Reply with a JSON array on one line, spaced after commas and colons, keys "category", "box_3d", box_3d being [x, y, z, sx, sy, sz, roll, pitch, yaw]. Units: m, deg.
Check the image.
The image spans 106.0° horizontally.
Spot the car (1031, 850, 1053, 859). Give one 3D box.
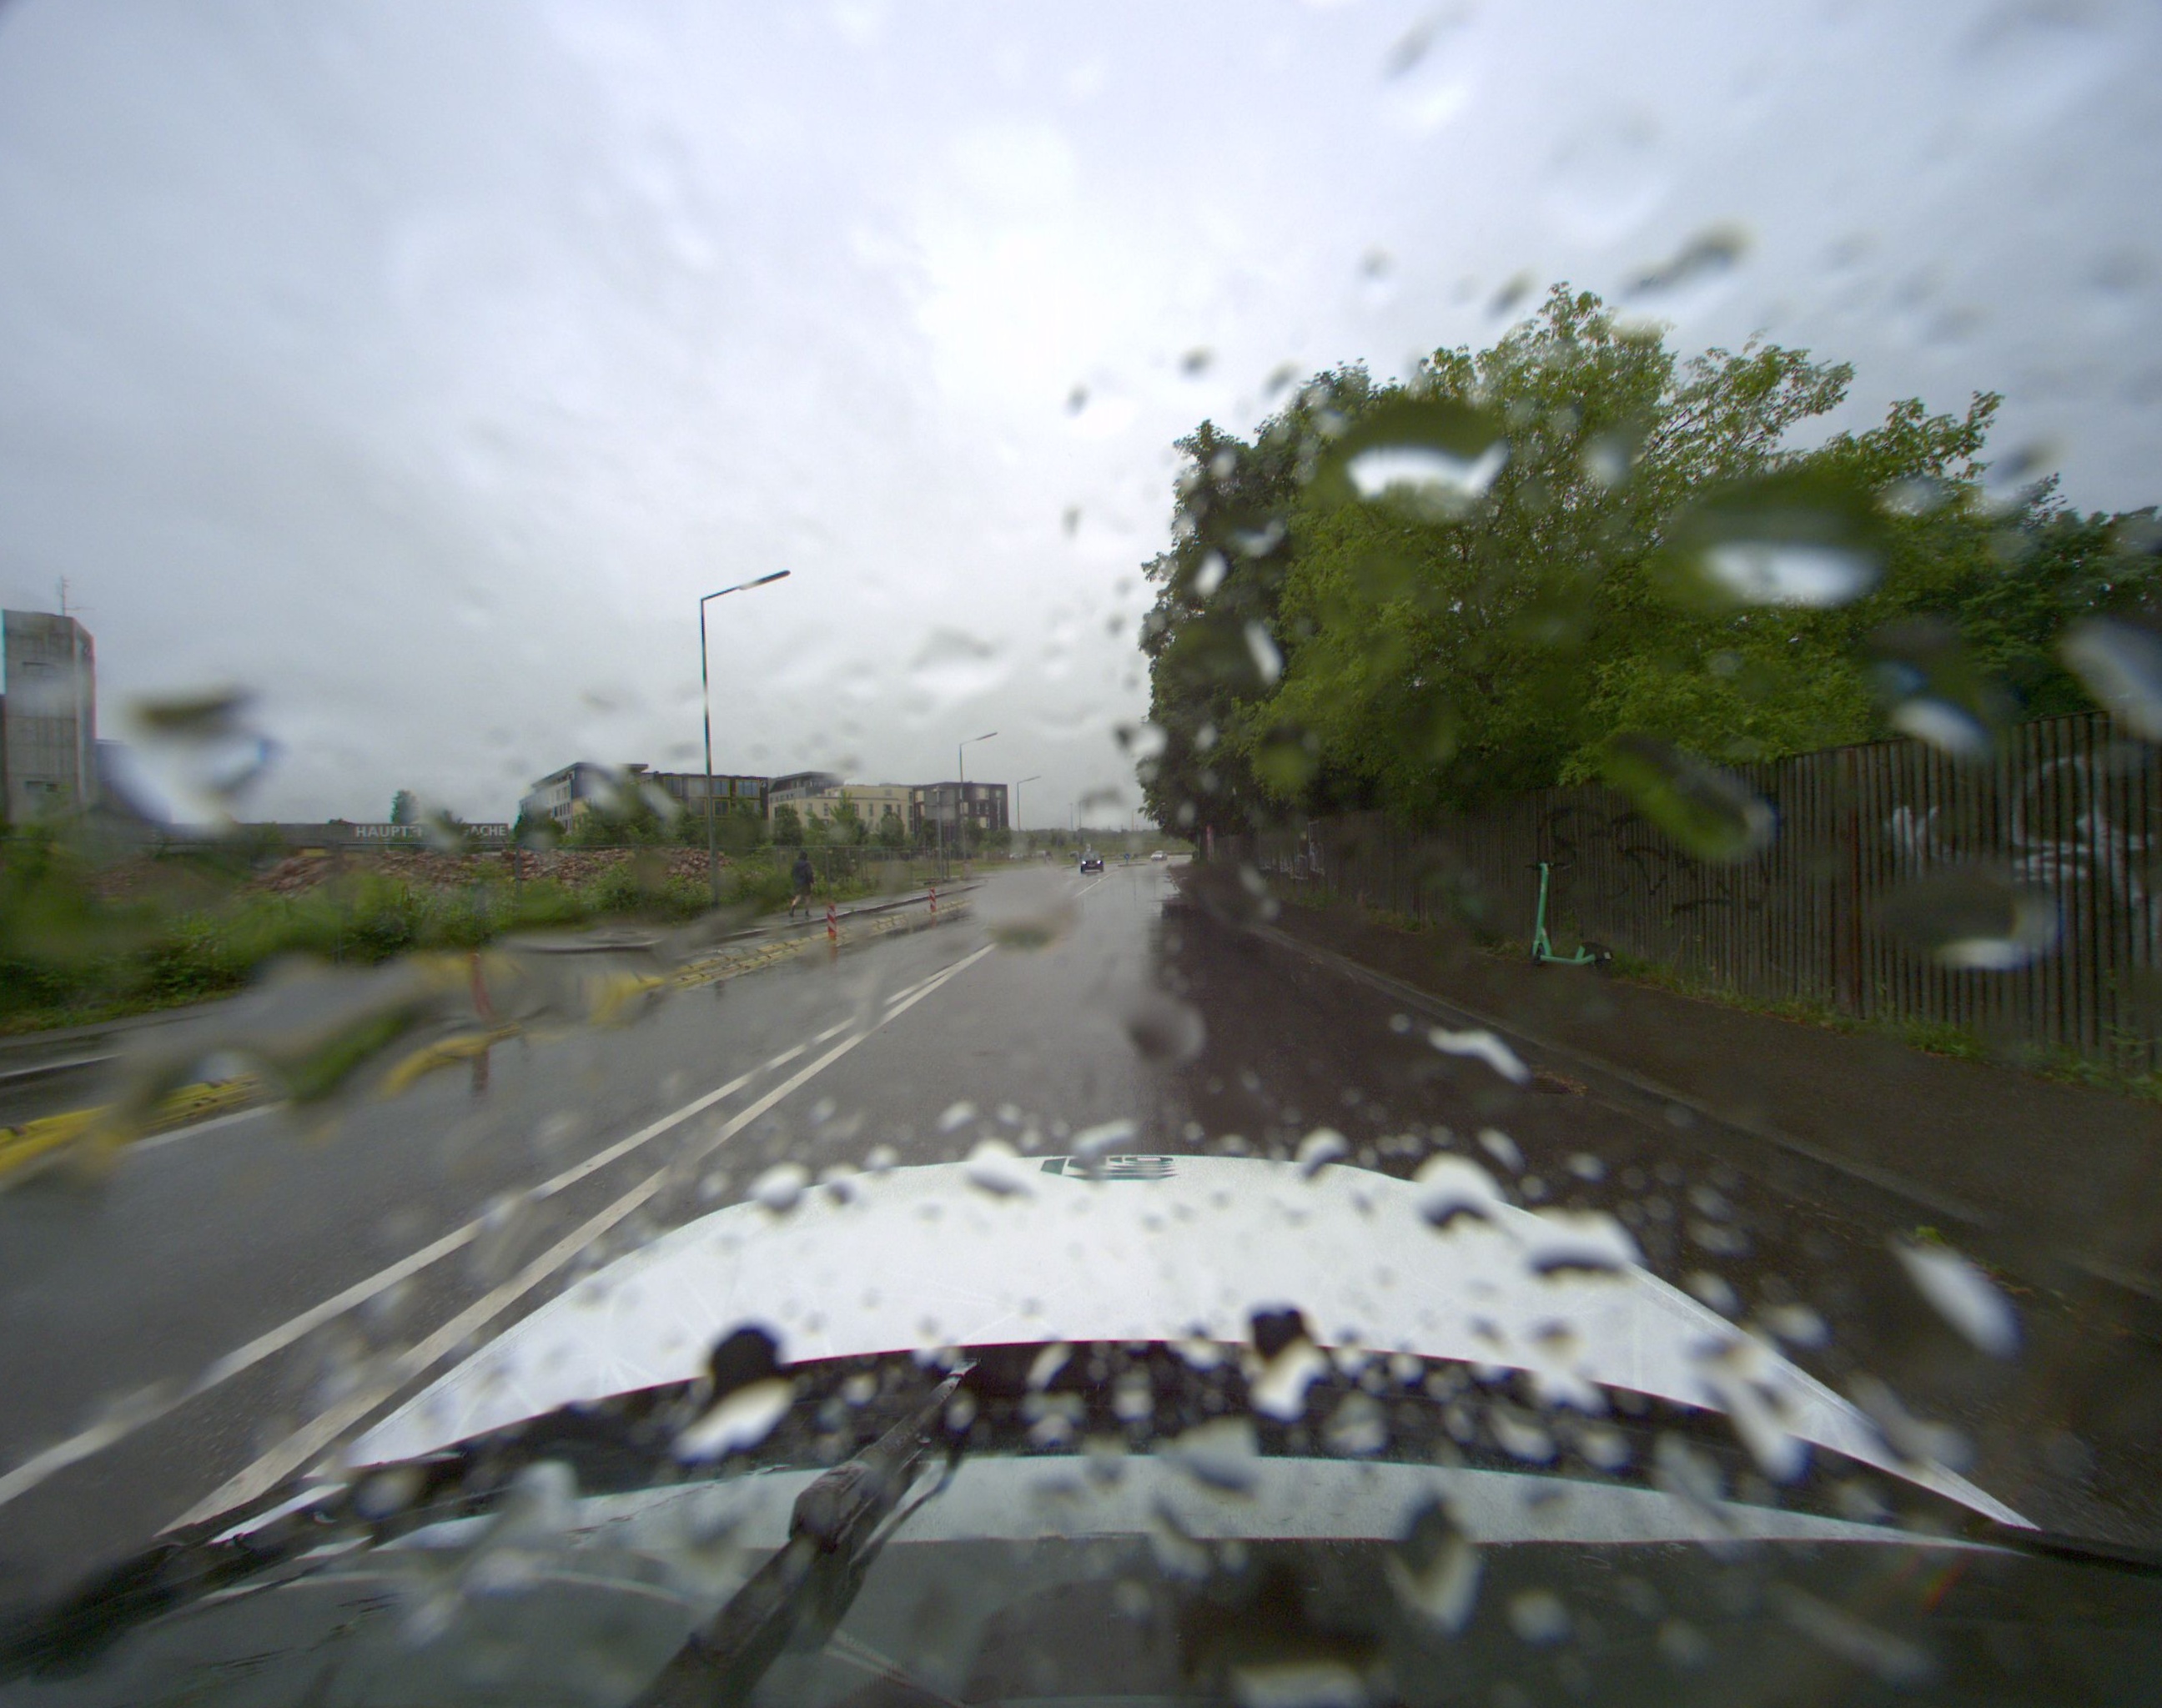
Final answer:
[{"category": "car", "box_3d": [-8.027, 0.146, 168.299, 4.020, 1.772, 1.976, 0, -3, -40]}]

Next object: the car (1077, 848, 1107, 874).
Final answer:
[{"category": "car", "box_3d": [0.868, 0.506, 61.407, 1.985, 1.772, 4.005, -2, 0, 4]}]

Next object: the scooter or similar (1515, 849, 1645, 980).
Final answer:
[{"category": "scooter or similar", "box_3d": [5.131, 0.599, 8.472, 0.489, 1.235, 1.371, -2, -2, 2]}]

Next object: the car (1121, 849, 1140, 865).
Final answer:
[{"category": "car", "box_3d": [5.894, 0.353, 97.060, 1.983, 1.772, 4.007, -2, -2, 7]}]

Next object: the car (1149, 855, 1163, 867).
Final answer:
[{"category": "car", "box_3d": [11.622, 1.069, 126.392, 1.983, 1.772, 4.007, -2, -2, 7]}]

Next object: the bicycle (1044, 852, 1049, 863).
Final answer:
[{"category": "bicycle", "box_3d": [-3.428, 0.358, 80.475, 0.426, 1.019, 1.611, -1, 0, -1]}]

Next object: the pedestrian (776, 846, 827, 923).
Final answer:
[{"category": "pedestrian", "box_3d": [-7.591, 0.833, 22.134, 0.841, 2.014, 1.134, -2, -2, 8]}]

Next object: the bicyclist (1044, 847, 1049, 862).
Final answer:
[{"category": "bicyclist", "box_3d": [-3.450, 0.058, 80.564, 0.442, 1.404, 0.550, -2, -2, 1]}]
